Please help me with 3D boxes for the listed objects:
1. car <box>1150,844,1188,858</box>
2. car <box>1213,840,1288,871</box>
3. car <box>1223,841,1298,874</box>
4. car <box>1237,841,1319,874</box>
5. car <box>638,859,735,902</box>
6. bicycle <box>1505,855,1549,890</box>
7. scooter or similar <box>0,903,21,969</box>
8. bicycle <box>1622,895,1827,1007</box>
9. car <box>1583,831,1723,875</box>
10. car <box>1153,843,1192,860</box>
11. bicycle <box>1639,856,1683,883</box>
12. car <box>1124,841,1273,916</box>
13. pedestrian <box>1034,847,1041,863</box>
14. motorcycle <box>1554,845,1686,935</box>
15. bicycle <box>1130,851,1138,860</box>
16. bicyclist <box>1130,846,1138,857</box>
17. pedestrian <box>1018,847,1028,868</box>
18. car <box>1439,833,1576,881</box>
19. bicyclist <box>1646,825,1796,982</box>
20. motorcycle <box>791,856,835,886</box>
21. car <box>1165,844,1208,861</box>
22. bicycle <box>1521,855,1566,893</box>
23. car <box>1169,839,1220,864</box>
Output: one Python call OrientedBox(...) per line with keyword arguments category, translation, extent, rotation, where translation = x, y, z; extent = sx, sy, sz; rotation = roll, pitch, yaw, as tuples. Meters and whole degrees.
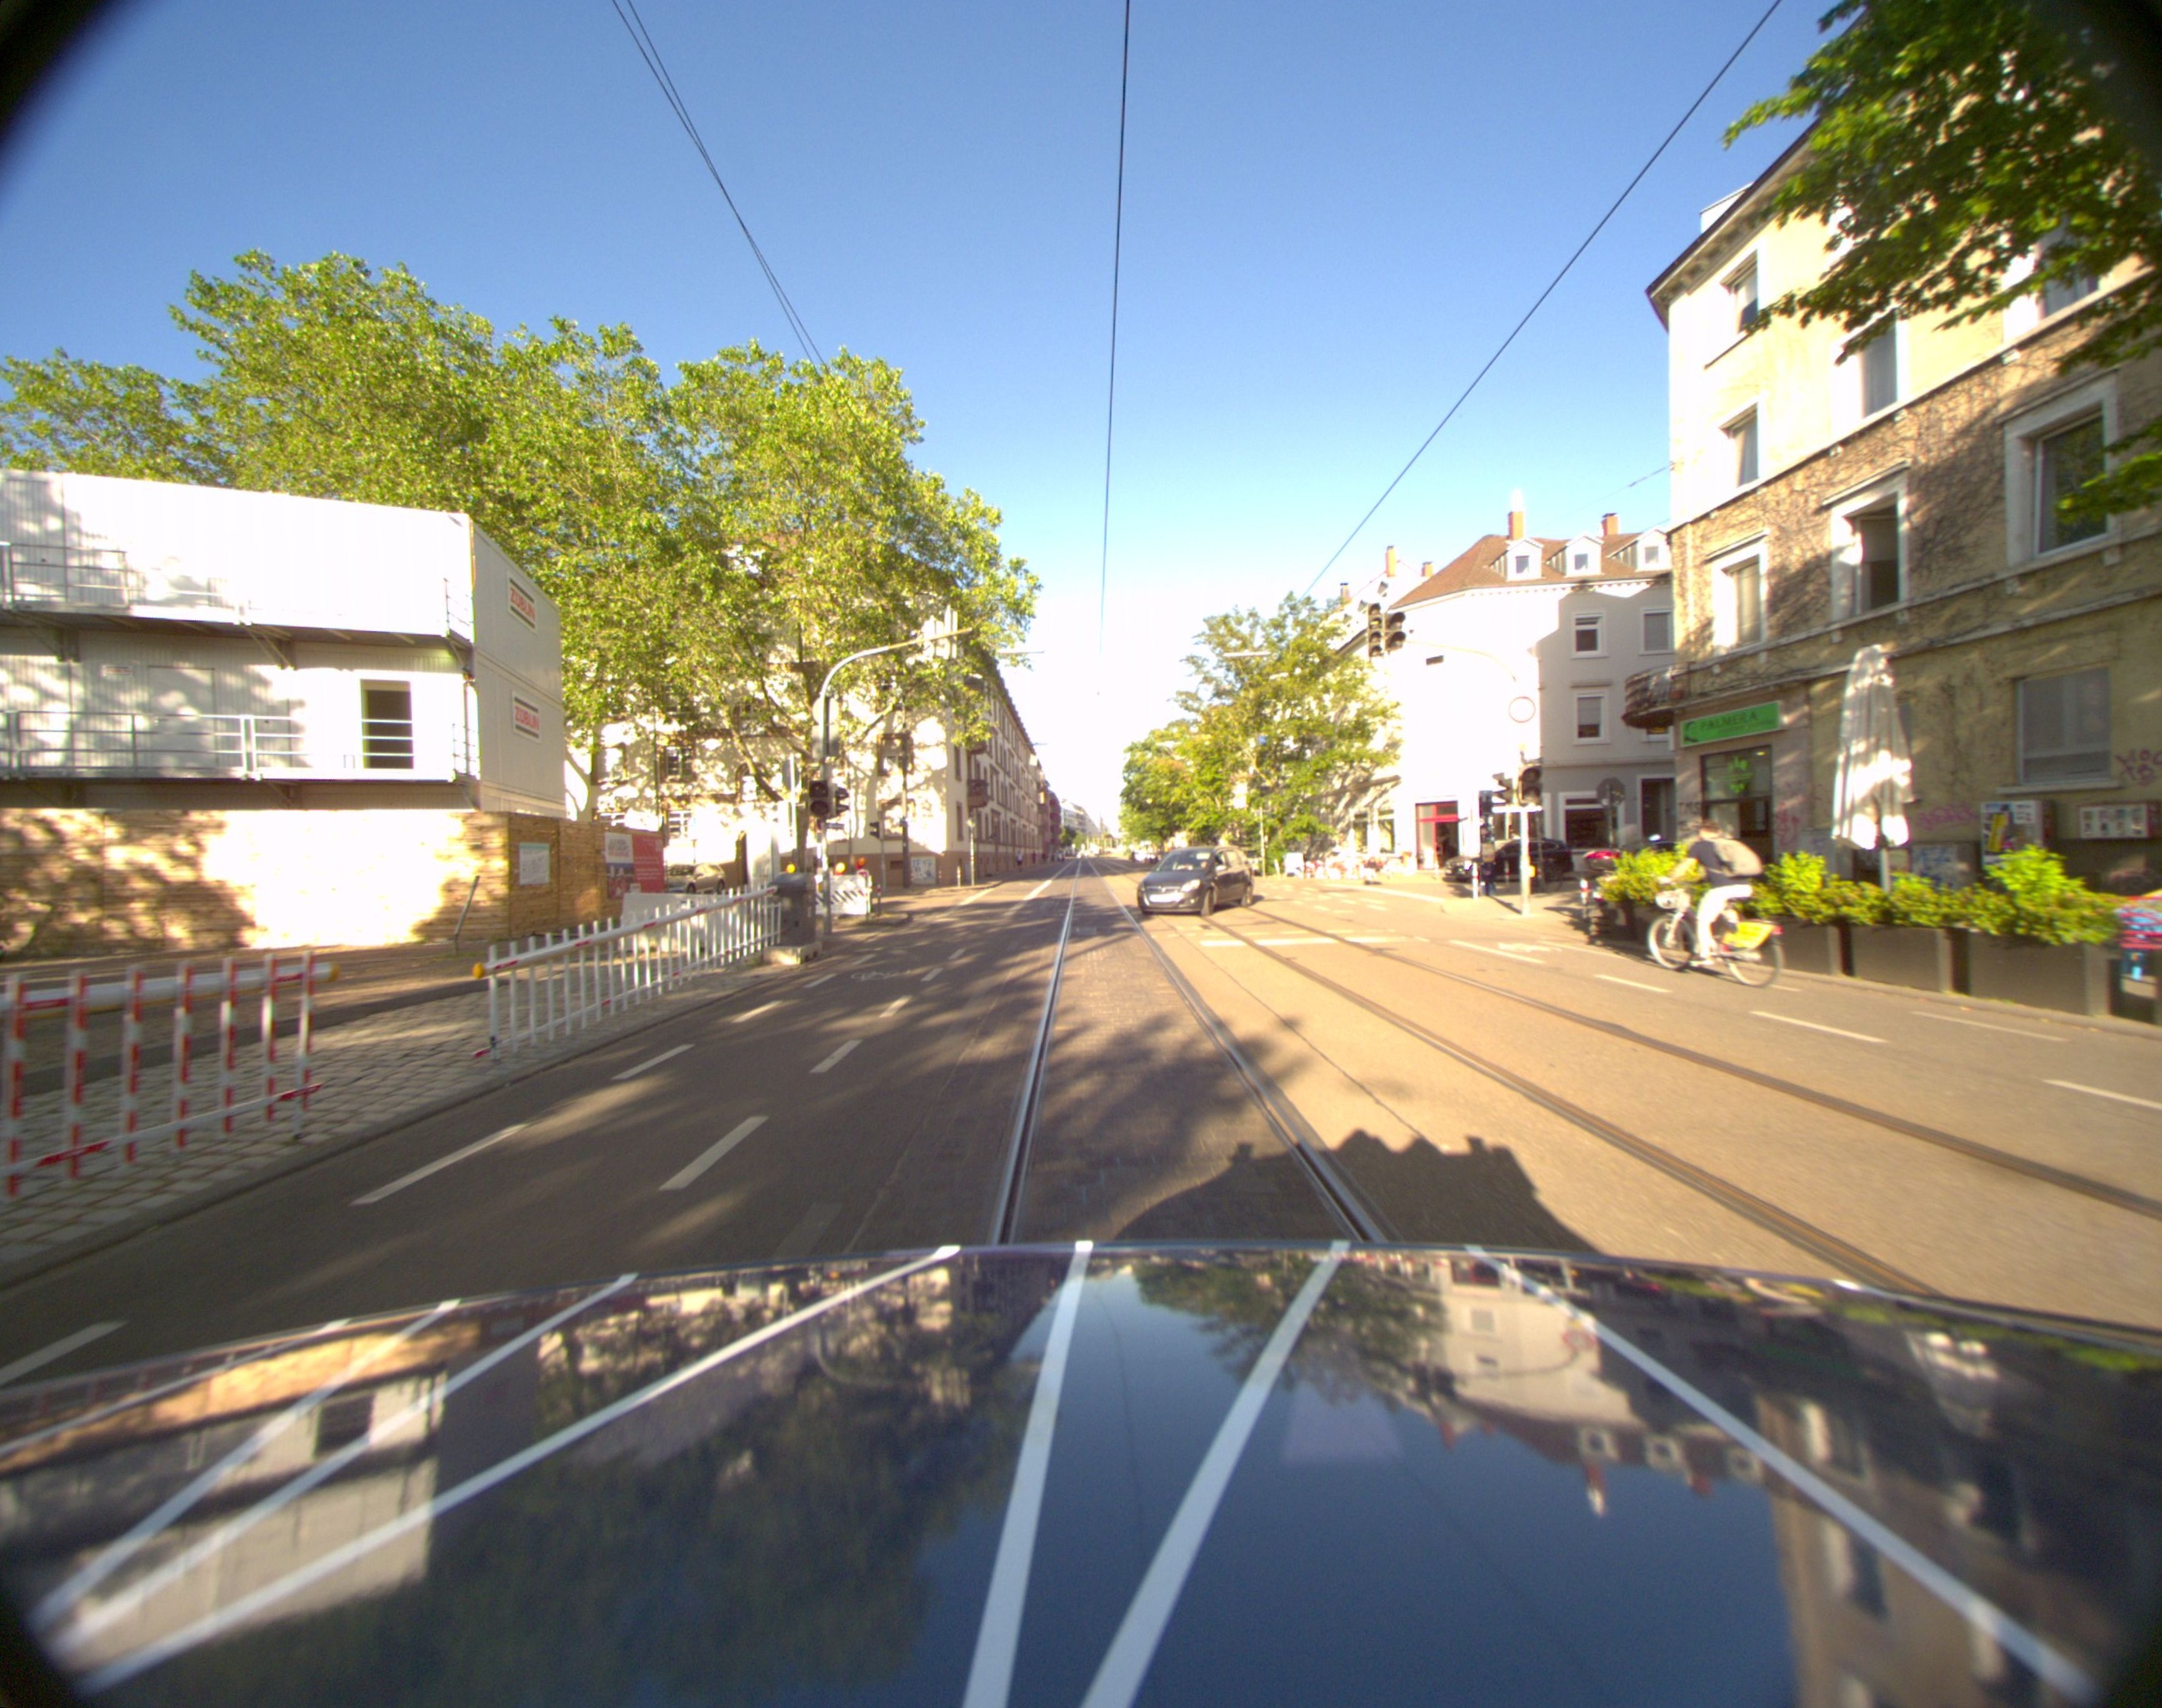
OrientedBox(category="car", translation=(10.509, -0.398, 91.128), extent=(4.137, 1.480, 1.618), rotation=(-4, 2, -15))
OrientedBox(category="car", translation=(10.268, 0.068, 45.978), extent=(4.138, 1.547, 1.617), rotation=(-4, 2, -19))
OrientedBox(category="car", translation=(10.237, 0.181, 43.256), extent=(4.141, 1.547, 1.616), rotation=(-4, 2, -32))
OrientedBox(category="car", translation=(10.702, 0.160, 41.191), extent=(4.140, 1.547, 1.617), rotation=(-4, 2, -24))
OrientedBox(category="car", translation=(-16.393, 1.031, 31.876), extent=(1.727, 1.562, 4.475), rotation=(-2, 1, 0))
OrientedBox(category="bicycle", translation=(13.493, 0.541, 22.980), extent=(1.691, 1.039, 0.457), rotation=(0, 0, -33))
OrientedBox(category="scooter or similar", translation=(-17.586, 1.304, 12.092), extent=(1.484, 1.014, 0.386), rotation=(-1, 1, 19))
OrientedBox(category="bicycle", translation=(6.869, 0.982, 8.260), extent=(0.612, 0.947, 1.883), rotation=(-2, 1, -1))
OrientedBox(category="car", translation=(21.594, -0.010, 28.817), extent=(3.950, 1.494, 1.651), rotation=(-2, -1, 5))
OrientedBox(category="car", translation=(10.531, -0.325, 87.817), extent=(4.137, 1.653, 1.618), rotation=(-4, 2, -15))
OrientedBox(category="bicycle", translation=(18.334, 0.478, 24.049), extent=(0.355, 0.813, 1.312), rotation=(-2, 1, -2))
OrientedBox(category="car", translation=(3.146, 0.564, 19.274), extent=(1.795, 1.652, 5.195), rotation=(-2, -1, 32))
OrientedBox(category="pedestrian", translation=(-5.062, 0.146, 89.053), extent=(0.737, 1.827, 0.696), rotation=(-1, 1, -1))
OrientedBox(category="motorcycle", translation=(9.725, 0.593, 13.681), extent=(2.424, 1.343, 0.998), rotation=(-5, 3, -30))
OrientedBox(category="bicycle", translation=(7.006, 0.151, 100.510), extent=(0.901, 1.158, 3.248), rotation=(-2, 1, 0))
OrientedBox(category="bicyclist", translation=(6.992, -0.379, 100.582), extent=(0.901, 1.445, 1.263), rotation=(-2, 1, 0))
OrientedBox(category="pedestrian", translation=(-5.034, 0.294, 65.695), extent=(0.737, 1.827, 0.696), rotation=(-1, 1, -1))
OrientedBox(category="car", translation=(16.245, 0.122, 29.118), extent=(4.192, 1.652, 1.767), rotation=(-2, -1, 5))
OrientedBox(category="bicyclist", translation=(6.858, 0.499, 8.202), extent=(0.726, 1.563, 1.028), rotation=(-2, 1, -1))
OrientedBox(category="motorcycle", translation=(-12.214, 0.783, 34.682), extent=(1.762, 1.325, 0.515), rotation=(-1, 1, -2))
OrientedBox(category="car", translation=(10.785, -0.164, 77.670), extent=(4.133, 1.480, 1.619), rotation=(-3, 2, 0))
OrientedBox(category="bicycle", translation=(13.747, 0.573, 22.560), extent=(1.667, 1.040, 0.450), rotation=(-2, 1, -33))
OrientedBox(category="car", translation=(10.069, -0.239, 67.240), extent=(4.141, 1.877, 1.884), rotation=(-4, 2, -32))
